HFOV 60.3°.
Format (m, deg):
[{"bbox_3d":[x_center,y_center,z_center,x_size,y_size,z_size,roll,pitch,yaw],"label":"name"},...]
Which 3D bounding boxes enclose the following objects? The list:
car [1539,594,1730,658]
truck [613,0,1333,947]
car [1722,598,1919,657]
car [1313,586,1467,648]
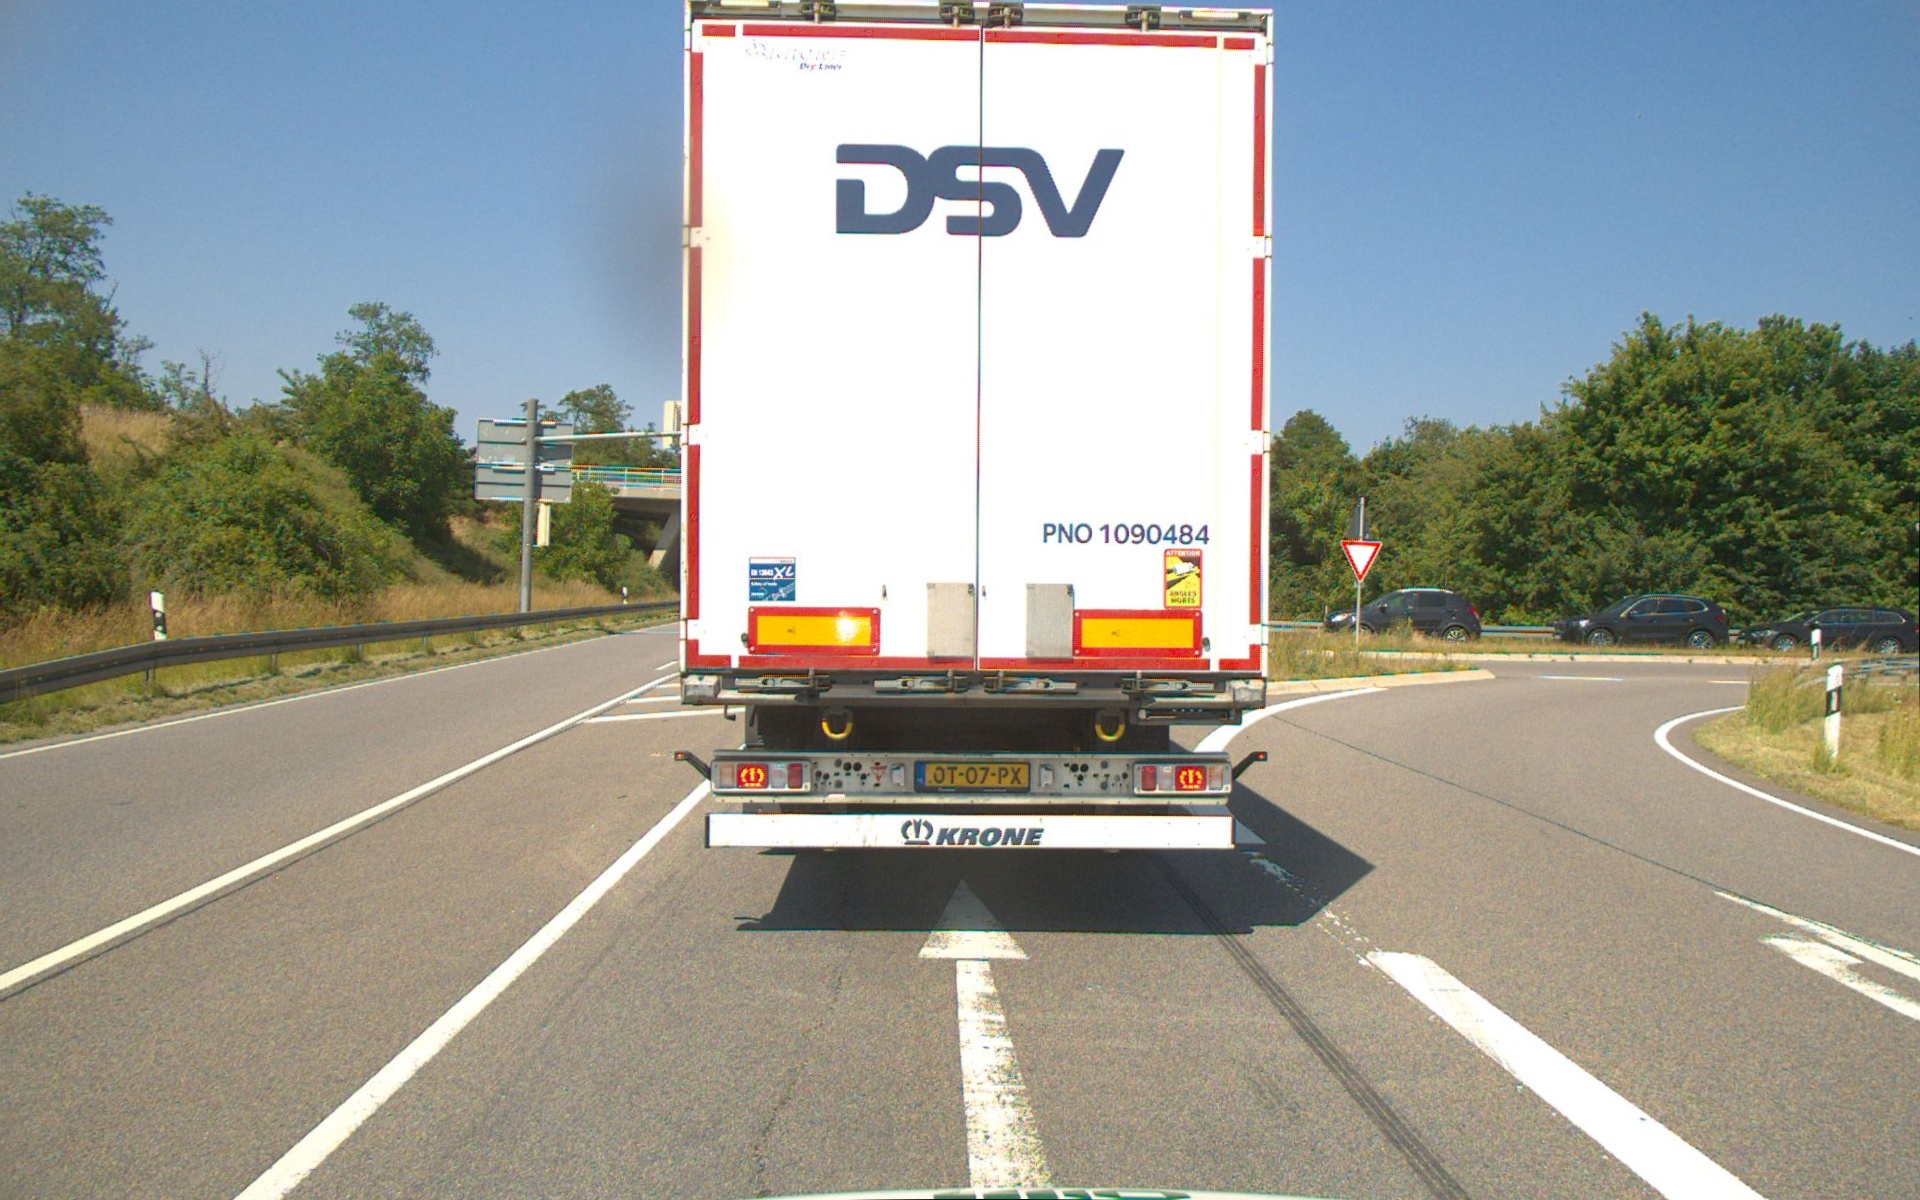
[{"bbox_3d":[18.023,0.688,44.304,4.393,1.626,1.768,1,0,2],"label":"car"},{"bbox_3d":[-0.054,-0.596,11.759,2.927,4.011,9.872,1,0,-1],"label":"truck"},{"bbox_3d":[23.821,0.750,45.792,4.583,1.540,1.854,1,0,6],"label":"car"},{"bbox_3d":[11.975,0.470,46.245,3.901,1.668,1.842,1,0,5],"label":"car"}]
